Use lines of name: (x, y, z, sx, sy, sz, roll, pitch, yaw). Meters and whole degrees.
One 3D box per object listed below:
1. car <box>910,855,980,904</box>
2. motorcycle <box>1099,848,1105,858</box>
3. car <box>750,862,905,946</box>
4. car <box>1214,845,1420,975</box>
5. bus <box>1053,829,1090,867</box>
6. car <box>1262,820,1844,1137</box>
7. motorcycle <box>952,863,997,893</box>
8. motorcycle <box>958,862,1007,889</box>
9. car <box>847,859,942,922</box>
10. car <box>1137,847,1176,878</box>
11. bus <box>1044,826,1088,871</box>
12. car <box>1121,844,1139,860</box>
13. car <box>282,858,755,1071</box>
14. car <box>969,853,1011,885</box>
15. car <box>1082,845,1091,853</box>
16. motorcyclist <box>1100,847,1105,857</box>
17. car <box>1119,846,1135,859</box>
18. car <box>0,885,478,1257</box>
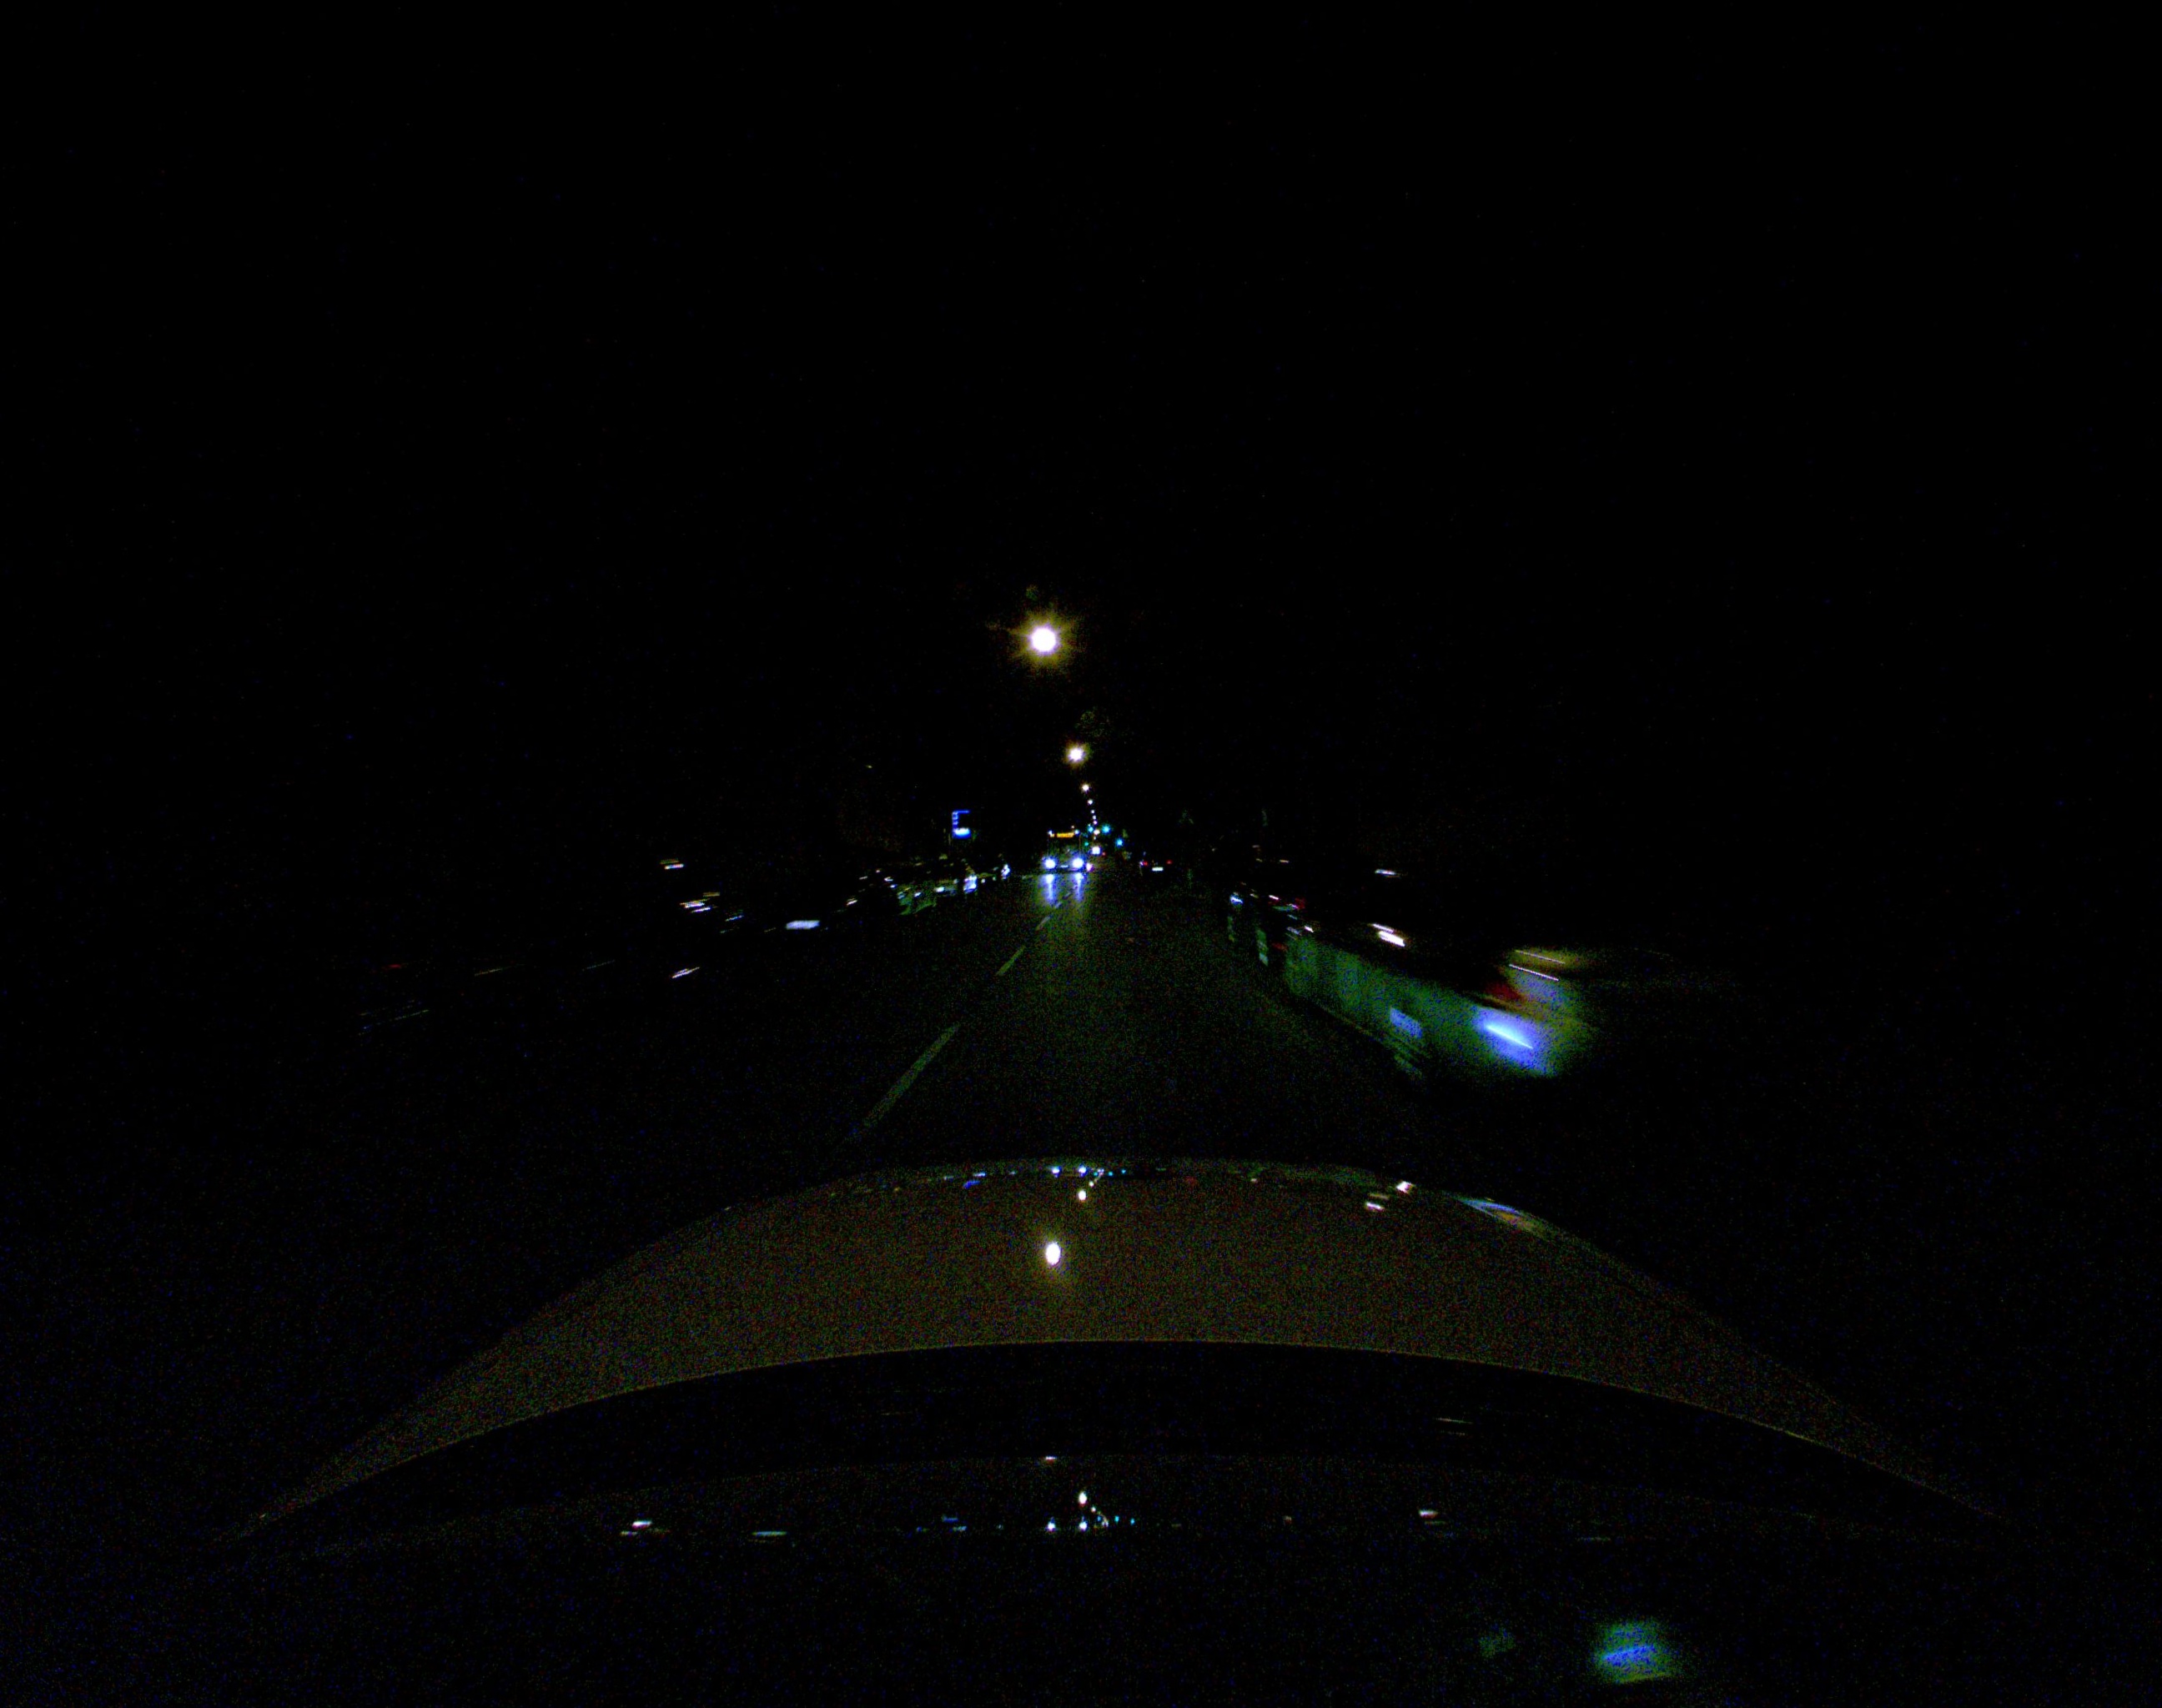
car: (-4.865, 0.864, 29.734, 1.698, 1.491, 4.228, -4, 1, 1)
motorcycle: (3.671, -0.130, 140.125, 0.927, 1.752, 2.626, -2, -1, 2)
car: (-5.167, 0.949, 17.274, 1.857, 1.491, 4.280, -2, 0, 1)
car: (3.124, 0.662, 11.654, 1.765, 1.448, 4.020, -3, 0, 1)
bus: (-0.733, -0.555, 72.242, 2.827, 3.177, 7.664, -2, 1, 2)
car: (2.881, 0.641, 6.408, 1.839, 1.417, 4.646, -5, -1, 1)
motorcycle: (-4.466, 0.998, 33.973, 0.720, 1.147, 2.182, -3, 1, -41)
motorcycle: (-4.359, 0.964, 35.991, 2.180, 1.131, 0.720, -3, 1, 34)
car: (-4.932, 0.917, 21.993, 1.616, 1.491, 3.781, -2, 0, 1)
car: (4.108, 0.432, 44.783, 1.756, 1.476, 4.082, -4, 1, 2)
bus: (-1.020, -0.448, 63.140, 2.827, 3.177, 10.502, -2, 1, 2)
car: (5.576, -0.261, 93.692, 1.805, 1.594, 4.275, -4, 1, 2)
car: (-5.466, 0.906, 8.856, 1.828, 1.619, 4.546, -2, 0, 2)
car: (-4.572, 0.746, 41.343, 1.632, 1.498, 2.767, -2, -1, 3)
car: (1.171, -1.144, 185.133, 1.937, 1.717, 4.001, -2, 0, 2)
motorcyclist: (3.663, -0.326, 140.129, 0.845, 1.752, 0.806, -2, -1, 1)
car: (6.047, -0.212, 107.022, 1.862, 1.526, 4.151, -4, 1, 1)
car: (-5.516, 1.022, 3.868, 1.829, 1.446, 4.544, -3, 0, 0)
